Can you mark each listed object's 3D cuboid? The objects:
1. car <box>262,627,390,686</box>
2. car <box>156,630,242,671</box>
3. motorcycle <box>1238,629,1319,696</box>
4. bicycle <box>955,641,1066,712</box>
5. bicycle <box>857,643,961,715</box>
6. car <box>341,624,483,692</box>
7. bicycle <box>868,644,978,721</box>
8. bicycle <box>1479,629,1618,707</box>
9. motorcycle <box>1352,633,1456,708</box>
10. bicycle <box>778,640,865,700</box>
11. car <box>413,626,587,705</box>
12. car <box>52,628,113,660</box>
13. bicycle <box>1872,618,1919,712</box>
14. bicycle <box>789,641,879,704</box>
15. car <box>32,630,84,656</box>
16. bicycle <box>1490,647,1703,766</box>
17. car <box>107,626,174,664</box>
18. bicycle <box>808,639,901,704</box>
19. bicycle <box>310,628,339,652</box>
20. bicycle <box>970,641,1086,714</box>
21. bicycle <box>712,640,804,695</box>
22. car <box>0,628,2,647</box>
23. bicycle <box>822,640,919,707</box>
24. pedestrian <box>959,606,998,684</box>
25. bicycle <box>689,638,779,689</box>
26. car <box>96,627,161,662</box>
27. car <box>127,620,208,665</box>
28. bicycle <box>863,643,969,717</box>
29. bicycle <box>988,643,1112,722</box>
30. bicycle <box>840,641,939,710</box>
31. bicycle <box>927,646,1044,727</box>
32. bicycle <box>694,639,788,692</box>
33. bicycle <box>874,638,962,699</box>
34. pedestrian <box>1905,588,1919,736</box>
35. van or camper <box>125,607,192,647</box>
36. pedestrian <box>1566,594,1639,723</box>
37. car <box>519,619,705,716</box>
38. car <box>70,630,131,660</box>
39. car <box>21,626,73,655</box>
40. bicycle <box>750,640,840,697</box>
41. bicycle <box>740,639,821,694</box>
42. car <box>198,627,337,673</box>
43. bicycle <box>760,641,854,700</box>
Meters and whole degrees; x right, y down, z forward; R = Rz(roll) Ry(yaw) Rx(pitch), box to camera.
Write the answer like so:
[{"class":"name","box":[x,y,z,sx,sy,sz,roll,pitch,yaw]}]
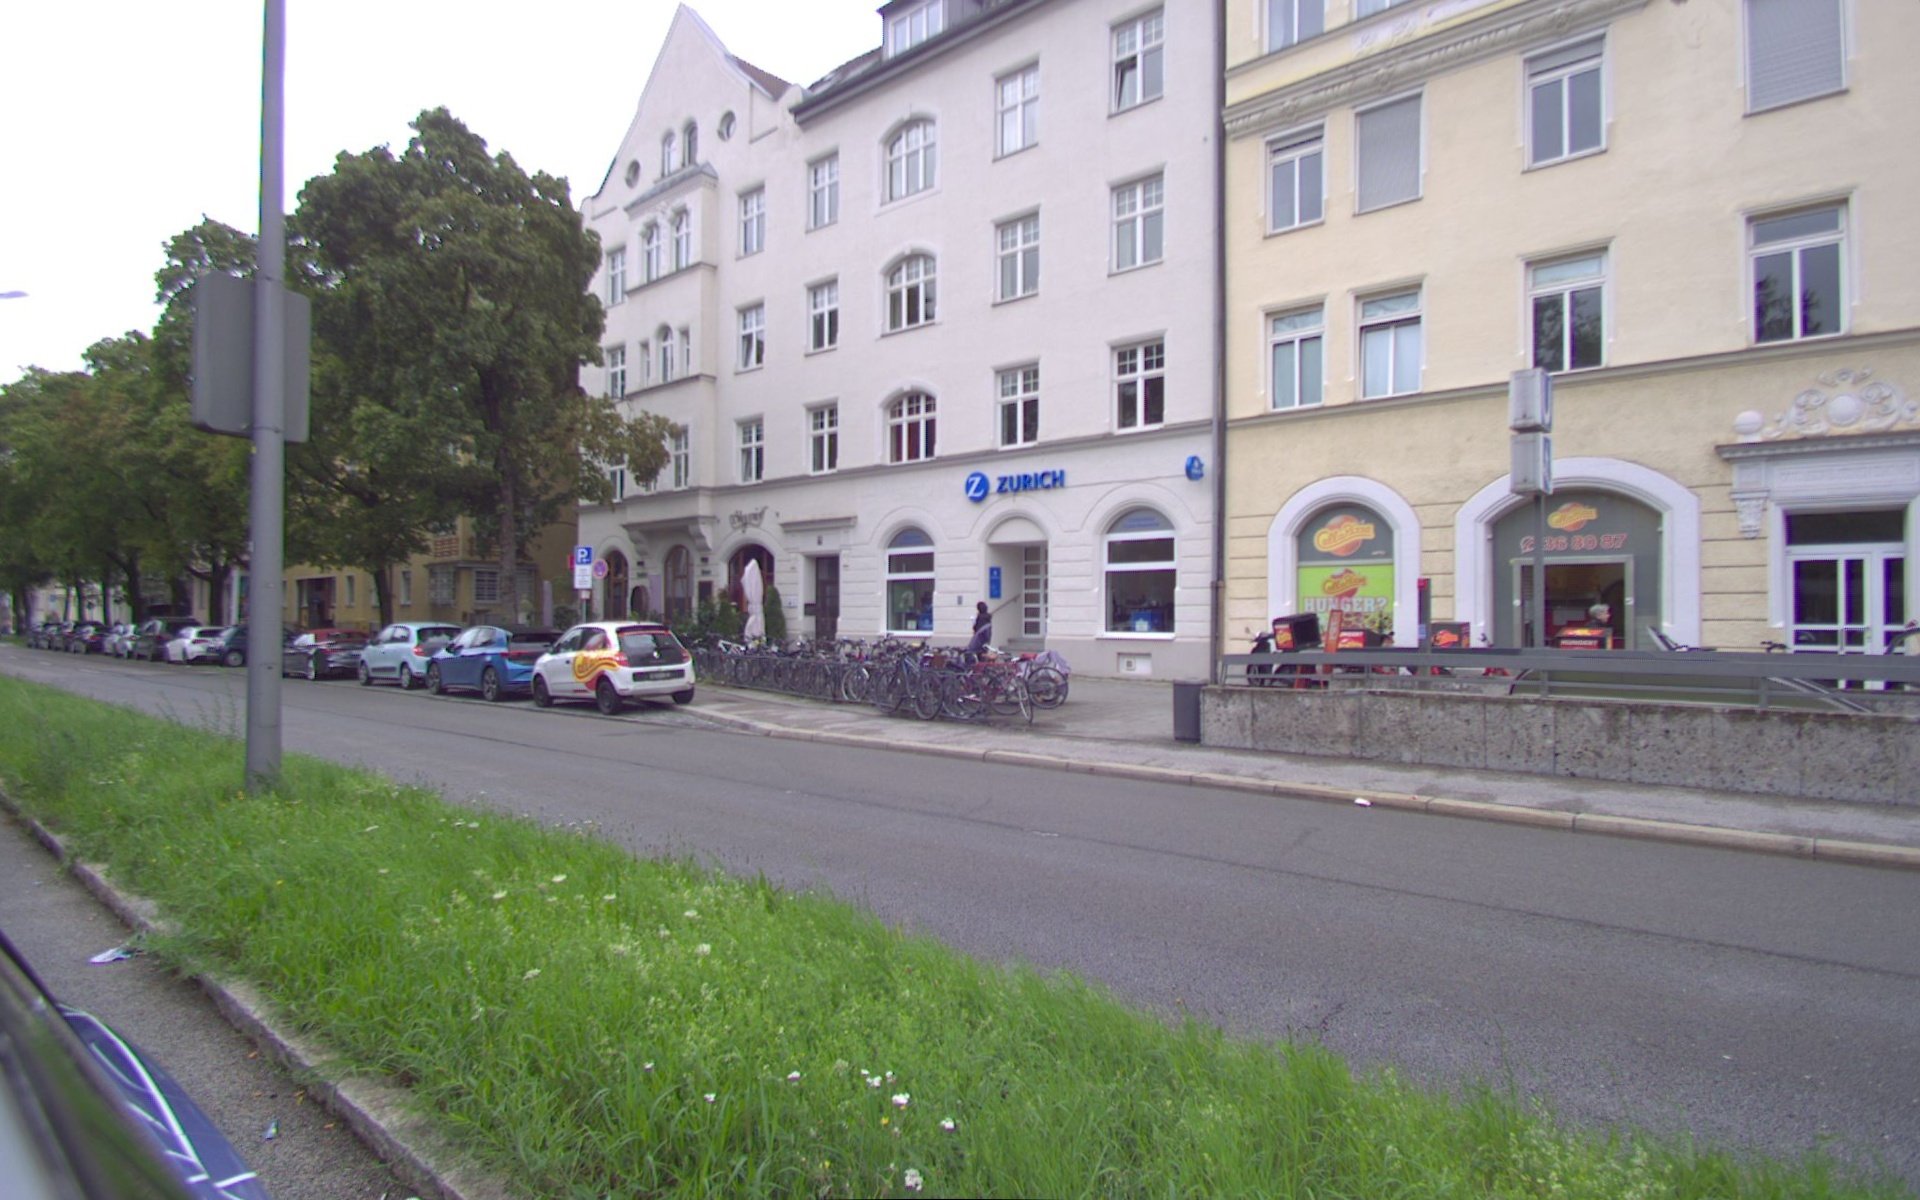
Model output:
[{"class":"car","box":[-17.963,1.526,28.597,4.643,1.518,1.792,-1,-2,41]},{"class":"car","box":[-28.655,1.855,38.082,4.401,1.413,1.708,-1,-2,41]},{"class":"motorcycle","box":[5.871,1.132,18.790,0.600,1.139,1.991,0,-1,-9]},{"class":"bicycle","box":[0.825,1.246,16.696,1.799,1.124,0.394,-1,-2,18]},{"class":"bicycle","box":[-0.833,1.266,16.415,1.667,1.124,0.365,-1,-2,18]},{"class":"car","box":[-13.504,1.356,24.861,3.958,1.518,1.792,-1,-2,41]},{"class":"bicycle","box":[-0.574,1.245,15.497,1.667,1.124,0.366,-1,-2,18]},{"class":"bicycle","box":[7.889,0.882,13.605,1.544,0.988,0.468,-1,-2,41]},{"class":"motorcycle","box":[7.398,1.140,16.965,0.600,1.130,1.991,0,-1,-9]},{"class":"bicycle","box":[-2.649,1.318,19.259,1.667,1.124,0.328,-1,-2,18]},{"class":"car","box":[-9.926,1.320,21.712,4.289,1.518,1.792,-1,-2,41]},{"class":"car","box":[-47.292,2.320,54.495,4.768,1.658,1.859,-1,-2,41]},{"class":"bicycle","box":[10.662,0.686,10.654,1.544,0.988,0.468,-1,-2,41]},{"class":"bicycle","box":[-2.341,1.324,18.721,1.667,1.124,0.328,-1,-2,18]},{"class":"car","box":[-51.947,2.447,58.241,4.490,1.465,1.674,-1,-2,41]},{"class":"bicycle","box":[6.522,1.061,10.458,1.808,1.124,0.392,-1,-2,33]},{"class":"car","box":[-36.210,1.963,44.724,3.007,1.569,1.710,-1,-2,39]},{"class":"bicycle","box":[-1.883,1.269,18.082,1.667,1.124,0.328,-1,-2,18]},{"class":"bicycle","box":[-33.202,2.081,52.875,1.929,1.231,0.762,-1,-2,41]},{"class":"bicycle","box":[1.083,1.213,16.142,1.799,1.124,0.394,-1,-2,18]},{"class":"bicycle","box":[-4.293,1.430,21.537,1.860,1.124,0.548,-1,-1,10]},{"class":"car","box":[-73.880,2.806,75.032,3.942,1.386,1.862,-1,-2,-1]},{"class":"bicycle","box":[-1.548,1.251,17.485,1.667,1.124,0.380,-1,-2,18]},{"class":"pedestrian","box":[0.399,0.963,21.913,0.416,1.644,0.784,1,-2,-43]},{"class":"bicycle","box":[-5.056,1.413,22.624,1.944,1.124,0.457,-1,-1,10]},{"class":"car","box":[-39.124,2.060,47.598,4.055,1.573,1.709,-1,-2,41]},{"class":"car","box":[-32.846,1.721,41.906,4.765,1.741,1.791,-1,-2,41]},{"class":"bicycle","box":[-0.699,1.249,15.951,1.667,1.124,0.328,-1,-2,18]},{"class":"bicycle","box":[1.337,1.215,15.110,1.799,1.124,0.394,-1,-2,18]},{"class":"bicycle","box":[-1.189,1.252,16.982,1.667,1.124,0.328,-1,-2,18]},{"class":"bicycle","box":[0.366,1.233,14.679,1.667,1.124,0.328,-1,-2,18]},{"class":"bicycle","box":[-4.800,1.428,22.166,1.966,1.124,0.503,-1,-1,10]},{"class":"bicycle","box":[-0.802,1.290,19.160,1.667,1.124,0.328,-1,-2,18]},{"class":"pedestrian","box":[11.609,0.714,11.682,0.945,1.710,0.585,-1,-2,39]},{"class":"van or camper","box":[-53.993,1.810,68.153,6.847,2.599,2.321,-1,-2,41]},{"class":"pedestrian","box":[8.832,0.785,13.914,0.769,1.710,0.537,-1,-2,39]},{"class":"car","box":[-6.433,1.153,18.525,3.790,1.597,1.631,-1,-2,43]},{"class":"car","box":[-43.063,2.239,50.670,4.361,1.416,1.709,-1,-2,41]},{"class":"car","box":[-55.747,2.445,61.778,4.436,1.699,1.854,-1,-2,41]},{"class":"bicycle","box":[-3.322,1.363,20.327,1.859,1.124,0.328,-1,-2,18]},{"class":"bicycle","box":[-3.725,1.366,20.939,1.664,1.124,0.329,-1,-2,14]},{"class":"car","box":[-25.128,1.783,36.811,1.730,1.475,3.851,-1,-1,39]},{"class":"bicycle","box":[-3.001,1.362,19.809,1.859,1.124,0.328,-1,-2,18]}]
